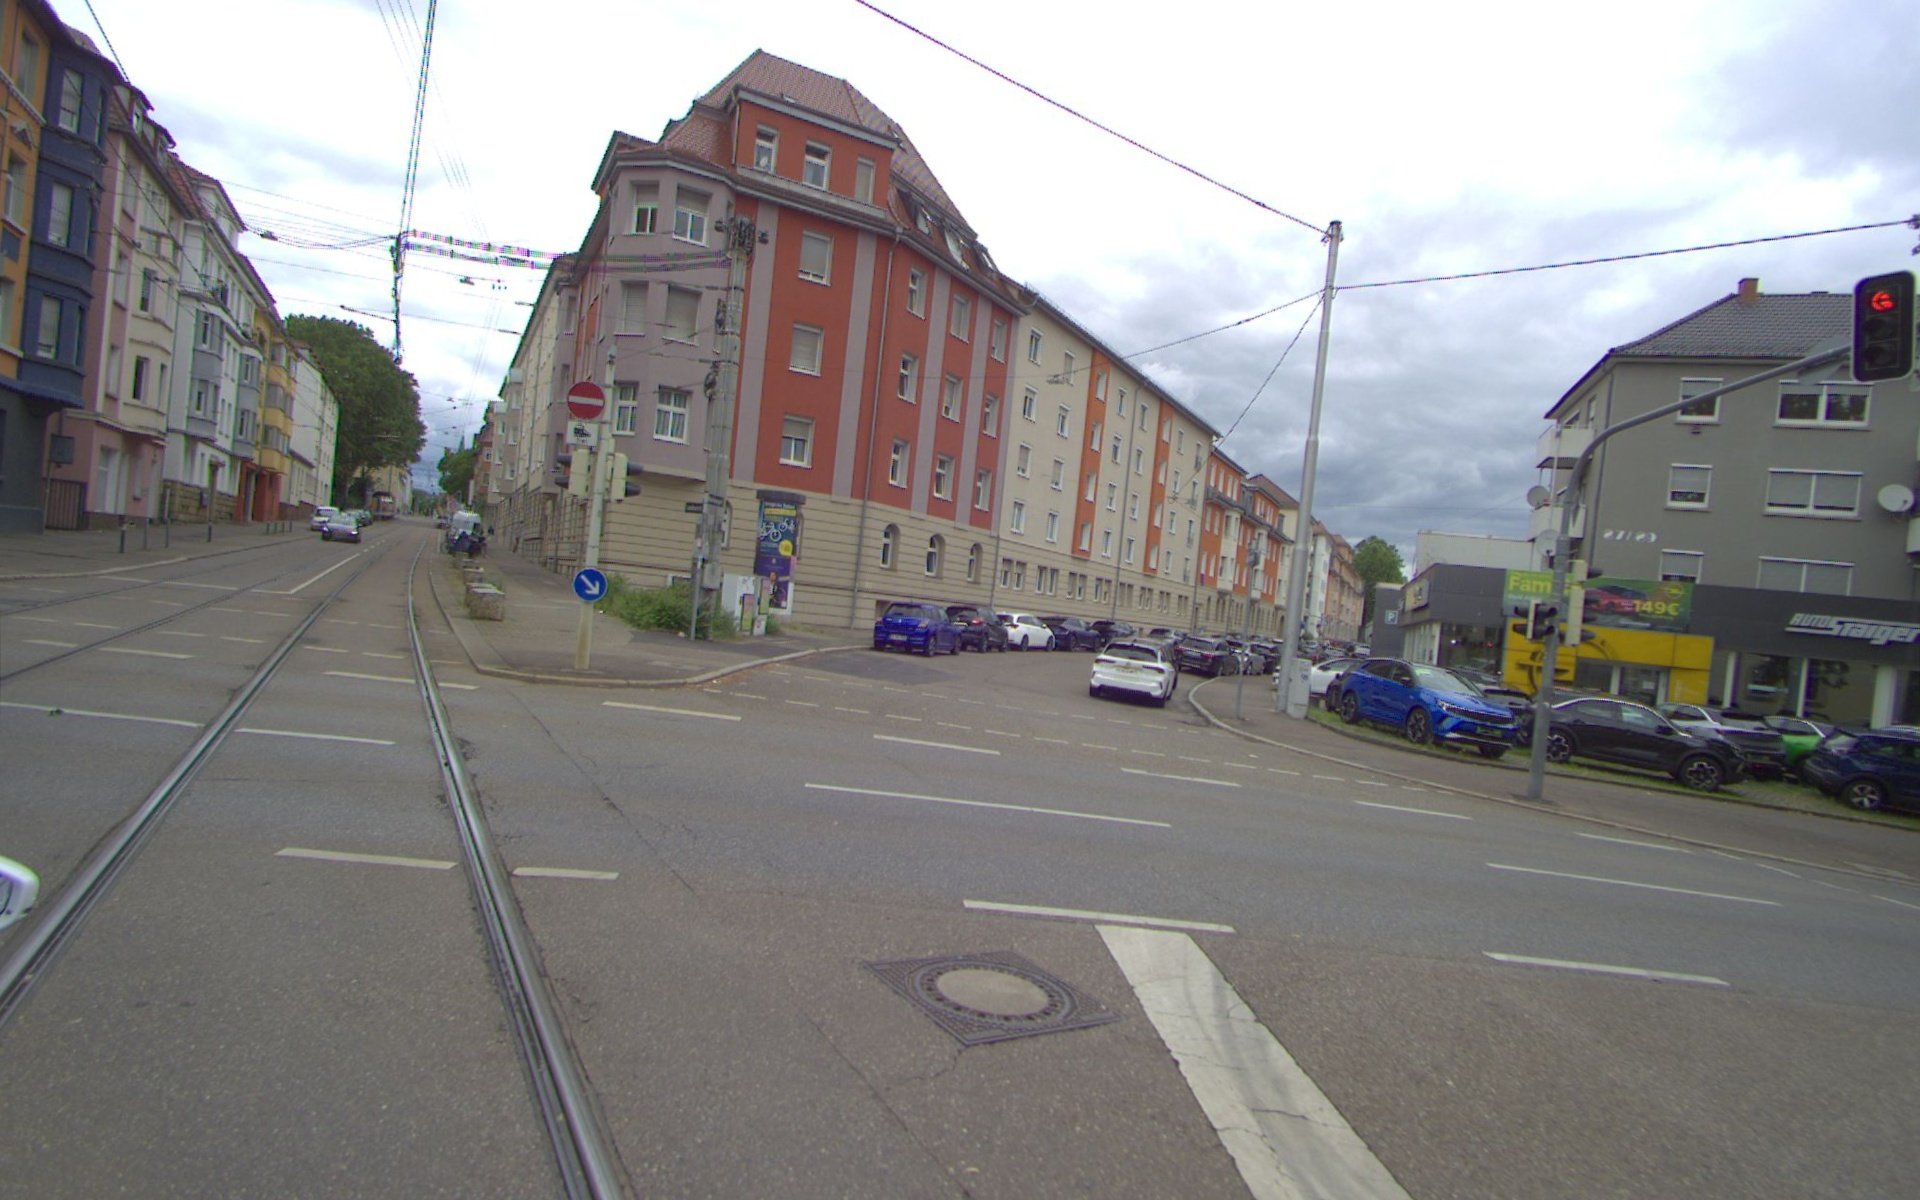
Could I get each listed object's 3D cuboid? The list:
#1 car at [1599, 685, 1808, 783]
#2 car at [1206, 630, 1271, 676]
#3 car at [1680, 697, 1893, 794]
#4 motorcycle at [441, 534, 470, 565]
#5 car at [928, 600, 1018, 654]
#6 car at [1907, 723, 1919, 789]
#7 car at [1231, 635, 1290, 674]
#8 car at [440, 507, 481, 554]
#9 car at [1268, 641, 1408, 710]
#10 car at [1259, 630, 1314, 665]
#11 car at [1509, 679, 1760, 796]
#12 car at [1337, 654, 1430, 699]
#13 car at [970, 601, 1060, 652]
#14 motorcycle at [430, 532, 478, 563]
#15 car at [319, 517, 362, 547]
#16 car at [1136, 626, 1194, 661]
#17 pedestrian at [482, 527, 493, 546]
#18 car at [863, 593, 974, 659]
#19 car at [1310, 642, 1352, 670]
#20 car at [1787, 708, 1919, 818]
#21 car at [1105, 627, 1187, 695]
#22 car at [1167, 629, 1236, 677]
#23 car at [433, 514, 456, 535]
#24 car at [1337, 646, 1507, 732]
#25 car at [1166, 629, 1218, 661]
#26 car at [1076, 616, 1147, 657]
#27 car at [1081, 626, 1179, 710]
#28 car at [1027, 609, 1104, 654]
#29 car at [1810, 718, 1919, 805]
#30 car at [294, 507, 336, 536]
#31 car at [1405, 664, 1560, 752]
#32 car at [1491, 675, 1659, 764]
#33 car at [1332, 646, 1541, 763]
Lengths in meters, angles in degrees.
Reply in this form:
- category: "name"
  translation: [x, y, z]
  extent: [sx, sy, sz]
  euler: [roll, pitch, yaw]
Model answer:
- category: "car"
  translation: [17.645, 3.125, 24.143]
  extent: [1.829, 1.569, 3.998]
  euler: [8, 0, -1]
- category: "car"
  translation: [12.429, 2.351, 44.748]
  extent: [1.884, 1.666, 4.136]
  euler: [9, 1, 26]
- category: "car"
  translation: [19.721, 3.415, 24.267]
  extent: [1.828, 1.569, 4.000]
  euler: [8, 0, 4]
- category: "motorcycle"
  translation: [-23.263, -2.340, 46.366]
  extent: [0.853, 1.346, 2.161]
  euler: [-1, 5, -37]
- category: "car"
  translation: [0.529, 0.952, 35.373]
  extent: [1.882, 1.554, 4.140]
  euler: [8, 1, 17]
- category: "car"
  translation: [24.307, 3.935, 22.747]
  extent: [1.829, 1.569, 3.999]
  euler: [8, 0, 0]
- category: "car"
  translation: [14.652, 2.633, 48.932]
  extent: [1.885, 1.554, 4.135]
  euler: [9, 1, 27]
- category: "car"
  translation: [-36.065, -4.963, 72.525]
  extent: [2.249, 2.925, 4.736]
  euler: [8, -1, -27]
- category: "car"
  translation: [12.466, 2.450, 33.297]
  extent: [4.042, 1.554, 1.793]
  euler: [8, 2, 22]
- category: "car"
  translation: [17.636, 2.603, 54.255]
  extent: [1.885, 1.554, 4.133]
  euler: [9, 1, 29]
- category: "car"
  translation: [13.792, 2.756, 20.893]
  extent: [3.929, 1.496, 1.827]
  euler: [10, 2, 26]
- category: "car"
  translation: [20.851, 3.741, 49.549]
  extent: [3.829, 1.554, 1.715]
  euler: [9, 2, 31]
- category: "car"
  translation: [2.243, 1.084, 40.083]
  extent: [1.885, 1.653, 4.135]
  euler: [9, 1, 27]
- category: "motorcycle"
  translation: [-27.978, -2.895, 55.677]
  extent: [2.167, 1.342, 0.692]
  euler: [9, 0, -39]
- category: "car"
  translation: [-35.008, -3.815, 56.923]
  extent: [1.672, 1.342, 3.636]
  euler: [8, -1, -27]
- category: "car"
  translation: [11.812, 2.499, 57.756]
  extent: [1.885, 1.653, 4.134]
  euler: [9, 1, 29]
- category: "pedestrian"
  translation: [-44.616, -6.022, 95.012]
  extent: [0.671, 1.650, 0.672]
  euler: [7, -2, -16]
- category: "car"
  translation: [-1.143, 0.776, 29.781]
  extent: [1.882, 1.554, 4.141]
  euler: [8, 1, 16]
- category: "car"
  translation: [25.439, 3.829, 68.835]
  extent: [1.885, 1.554, 4.133]
  euler: [9, 1, 29]
- category: "car"
  translation: [19.622, 3.498, 20.212]
  extent: [4.095, 1.631, 1.823]
  euler: [10, 7, 26]
- category: "car"
  translation: [5.501, 1.710, 29.434]
  extent: [1.882, 1.554, 4.141]
  euler: [8, 1, 15]
- category: "car"
  translation: [9.570, 2.060, 39.651]
  extent: [1.883, 1.554, 4.139]
  euler: [8, 1, 22]
- category: "car"
  translation: [-64.485, -9.410, 125.927]
  extent: [2.249, 2.209, 4.736]
  euler: [8, -1, -27]
- category: "car"
  translation: [13.755, 2.611, 30.197]
  extent: [4.165, 1.803, 1.713]
  euler: [8, 2, 13]
- category: "car"
  translation: [14.459, 2.795, 62.625]
  extent: [1.885, 1.653, 4.134]
  euler: [9, 1, 29]
- category: "car"
  translation: [7.532, 1.846, 49.741]
  extent: [1.886, 1.653, 4.133]
  euler: [9, 1, 30]
- category: "car"
  translation: [4.206, 1.557, 24.363]
  extent: [1.882, 1.554, 4.141]
  euler: [8, 1, 13]
- category: "car"
  translation: [4.753, 1.417, 44.770]
  extent: [1.885, 1.653, 4.135]
  euler: [9, 1, 27]
- category: "car"
  translation: [21.975, 3.811, 22.919]
  extent: [1.828, 1.569, 4.000]
  euler: [8, 0, 4]
- category: "car"
  translation: [-46.517, -5.617, 72.633]
  extent: [1.977, 1.712, 3.972]
  euler: [8, -1, -27]
- category: "car"
  translation: [12.833, 2.593, 25.011]
  extent: [1.828, 1.569, 4.000]
  euler: [8, 0, 4]
- category: "car"
  translation: [15.313, 2.917, 25.338]
  extent: [1.828, 1.569, 4.000]
  euler: [8, 0, 4]
- category: "car"
  translation: [9.683, 2.052, 20.904]
  extent: [1.798, 1.597, 4.252]
  euler: [9, 1, -6]
